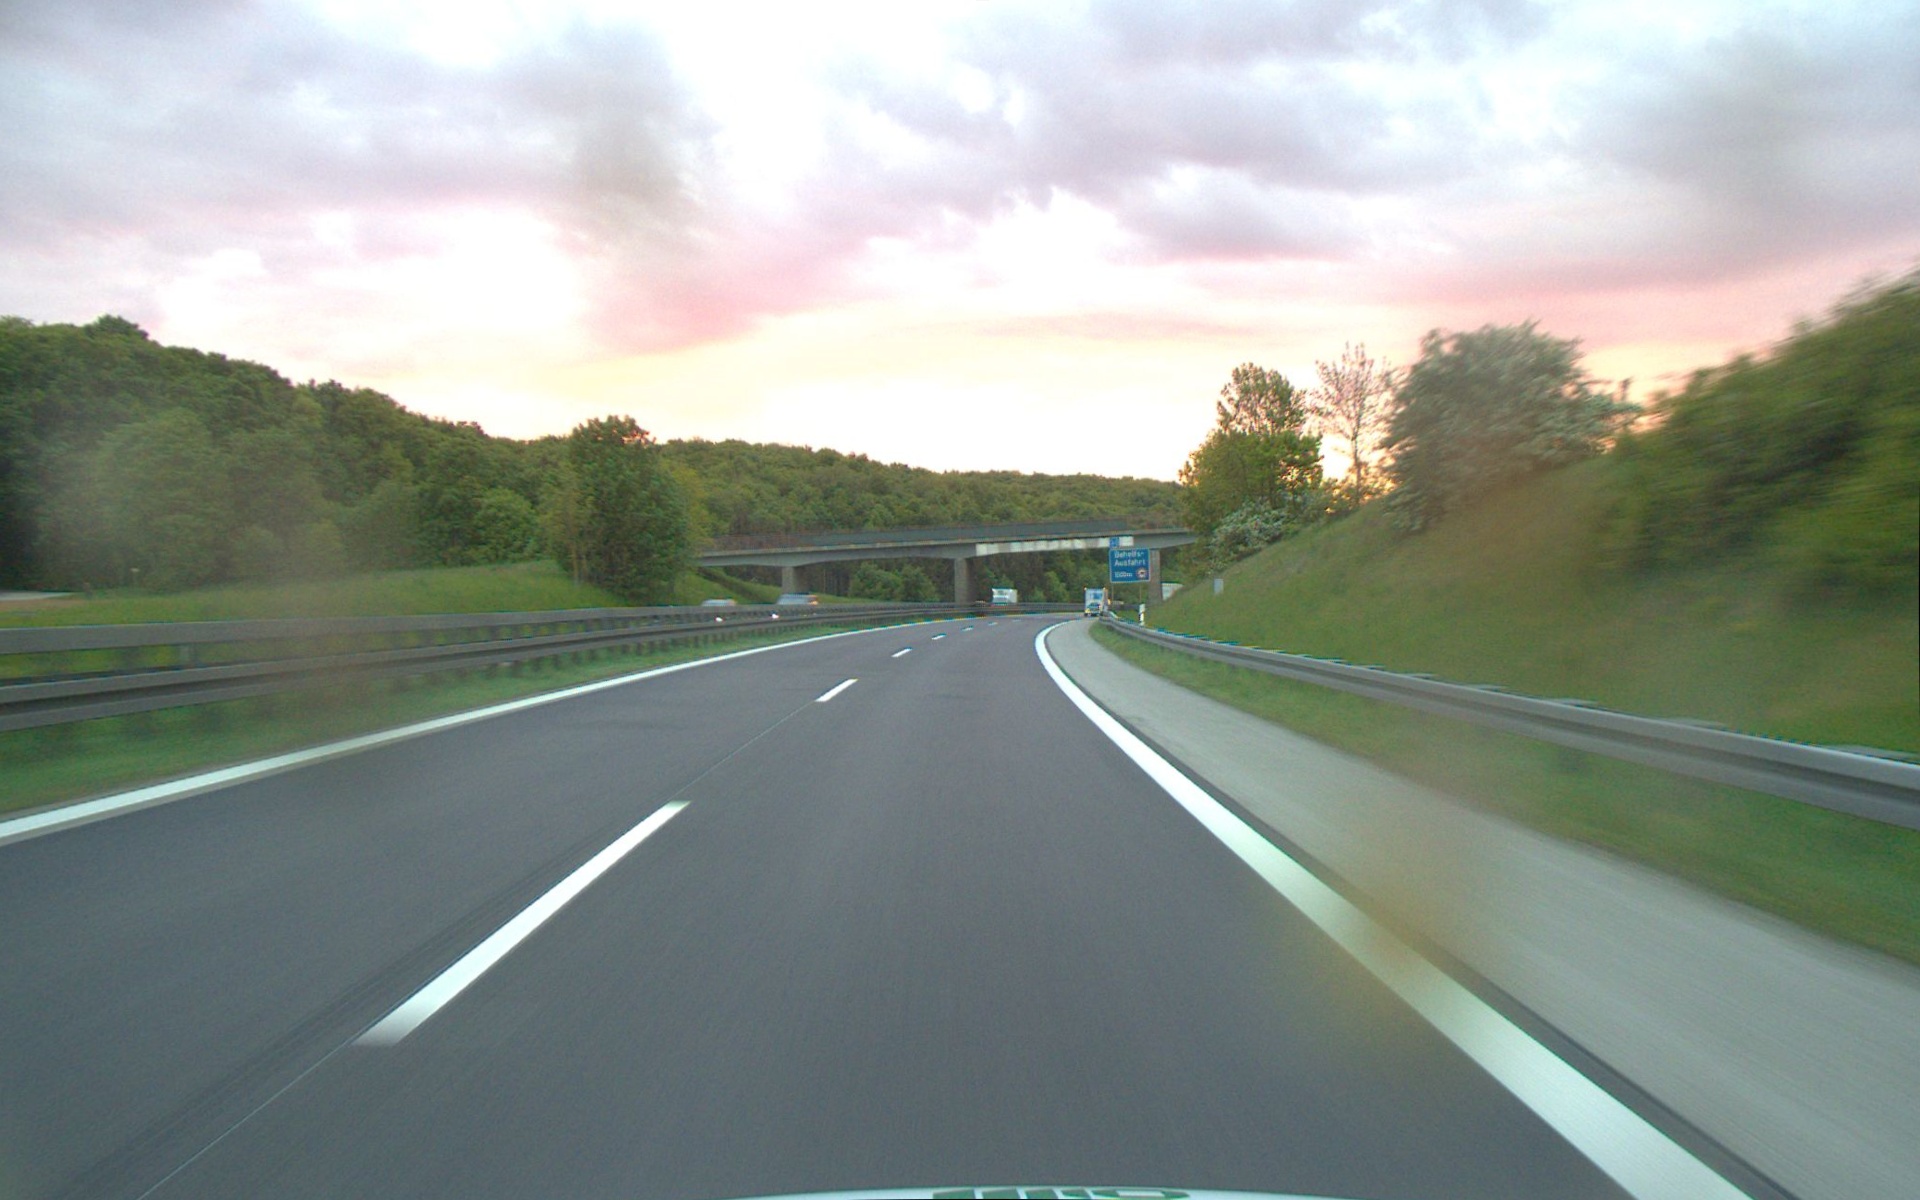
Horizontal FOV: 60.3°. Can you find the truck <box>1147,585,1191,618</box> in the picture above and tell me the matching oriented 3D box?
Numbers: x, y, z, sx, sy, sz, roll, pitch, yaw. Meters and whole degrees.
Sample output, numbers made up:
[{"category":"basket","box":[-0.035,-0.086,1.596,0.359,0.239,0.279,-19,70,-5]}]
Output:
[{"category":"truck","box":[28.817,0.186,227.016,3.874,4.362,14.332,0,0,16]}]

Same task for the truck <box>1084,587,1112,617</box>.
[{"category":"truck","box":[13.458,0.180,161.320,2.227,2.711,5.241,-1,1,9]}]

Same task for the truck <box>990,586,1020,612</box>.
[{"category":"truck","box":[5.594,-0.095,203.190,2.556,3.164,6.674,1,0,11]}]

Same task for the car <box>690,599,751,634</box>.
[{"category":"car","box":[-11.934,0.785,82.766,1.982,1.688,4.673,0,0,5]}]

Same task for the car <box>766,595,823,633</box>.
[{"category":"car","box":[-8.624,0.698,86.415,2.058,1.905,5.134,0,0,5]}]
